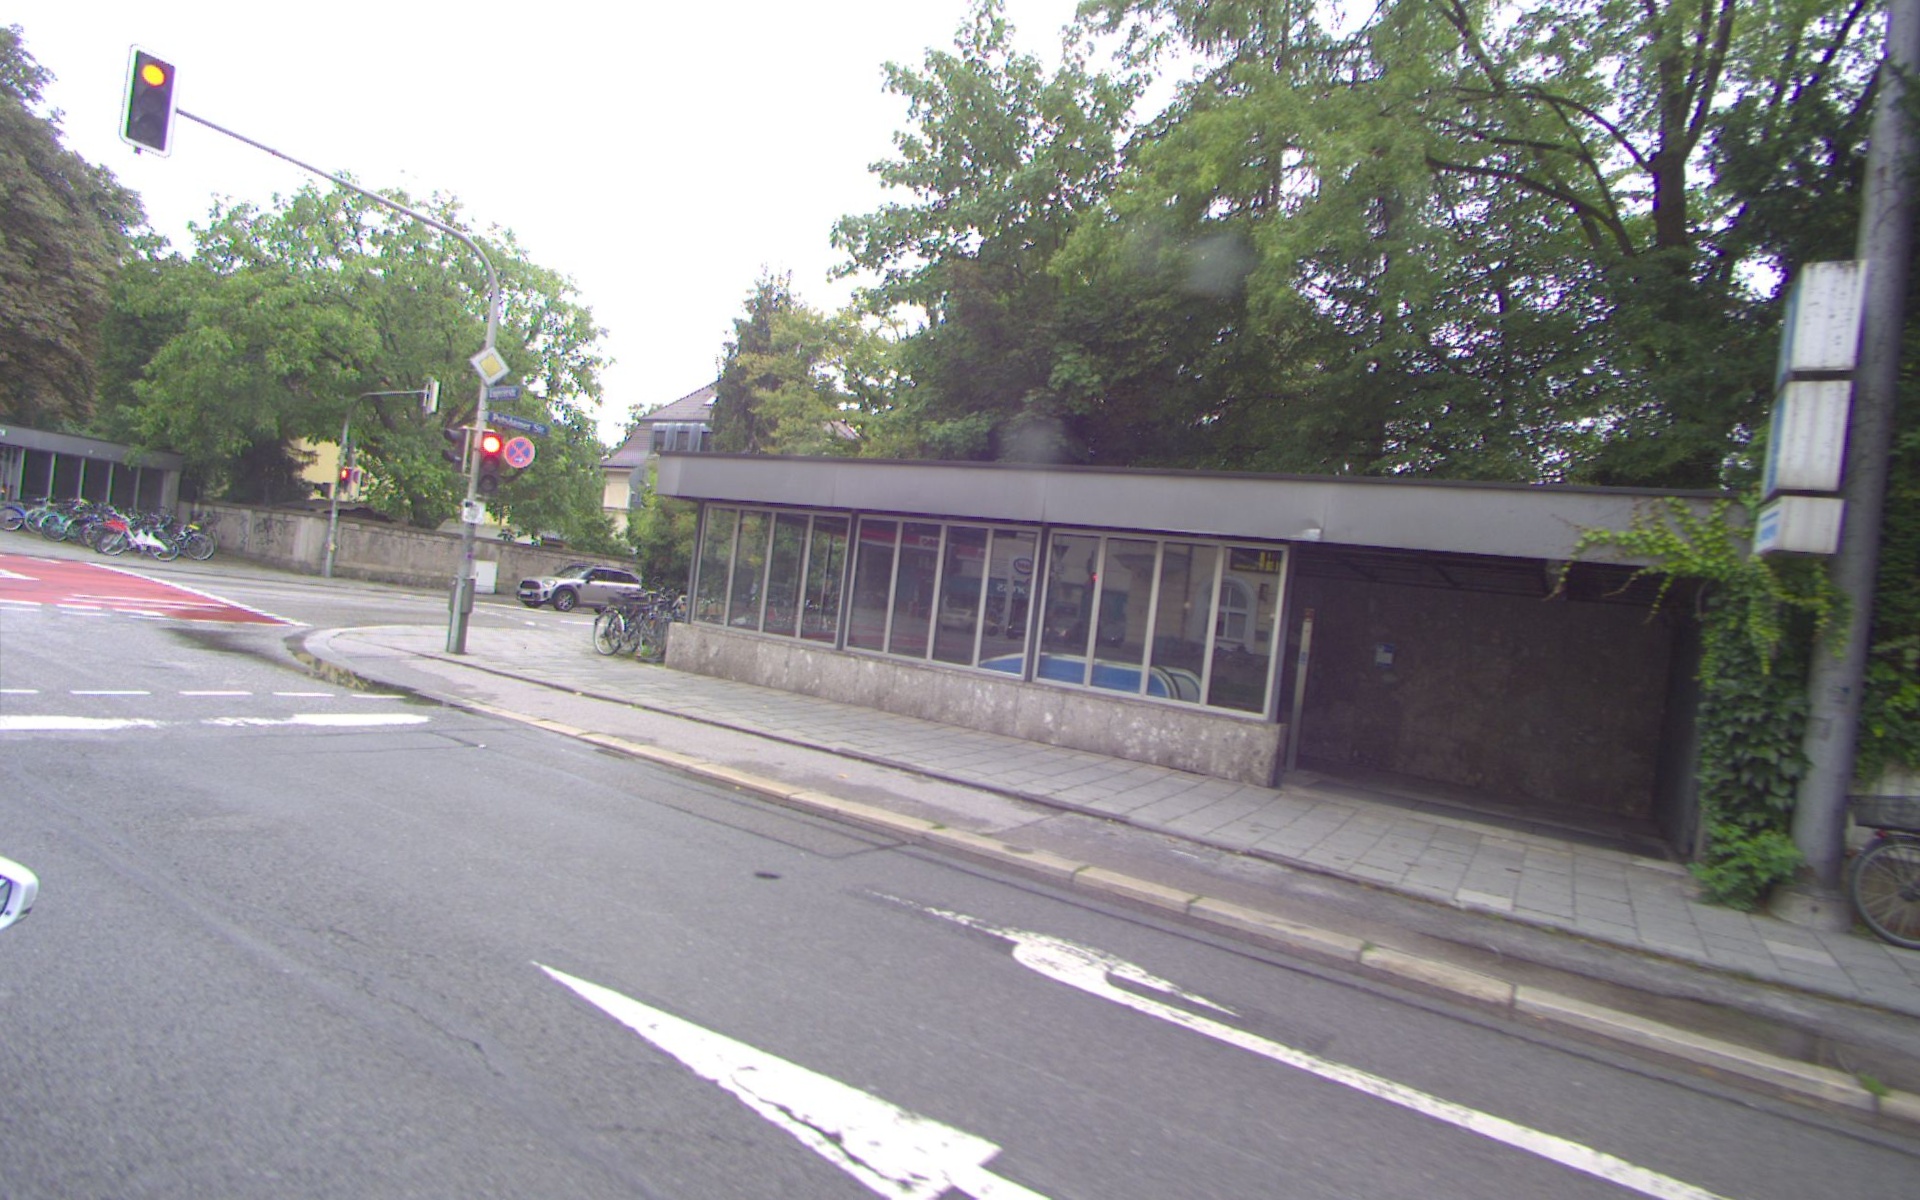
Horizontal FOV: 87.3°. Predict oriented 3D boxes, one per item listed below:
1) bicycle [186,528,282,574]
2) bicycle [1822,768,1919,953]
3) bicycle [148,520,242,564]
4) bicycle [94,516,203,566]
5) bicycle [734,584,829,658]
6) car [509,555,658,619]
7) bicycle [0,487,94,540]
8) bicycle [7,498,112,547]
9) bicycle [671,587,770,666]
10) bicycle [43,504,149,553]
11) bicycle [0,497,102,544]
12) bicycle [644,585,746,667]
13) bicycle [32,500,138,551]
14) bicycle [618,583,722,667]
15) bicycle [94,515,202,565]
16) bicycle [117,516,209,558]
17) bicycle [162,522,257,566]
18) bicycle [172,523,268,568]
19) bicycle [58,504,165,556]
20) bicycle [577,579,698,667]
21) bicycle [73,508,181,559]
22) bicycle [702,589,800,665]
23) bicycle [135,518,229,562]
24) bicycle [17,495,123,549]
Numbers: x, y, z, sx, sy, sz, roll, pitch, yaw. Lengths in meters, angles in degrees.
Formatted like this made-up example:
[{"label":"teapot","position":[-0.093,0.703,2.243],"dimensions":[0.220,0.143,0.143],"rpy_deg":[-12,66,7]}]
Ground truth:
[{"label":"bicycle","position":[-21.301,-1.419,29.553],"dimensions":[0.625,1.026,2.141],"rpy_deg":[8,0,40]},{"label":"bicycle","position":[6.987,1.842,6.482],"dimensions":[1.992,1.104,0.623],"rpy_deg":[7,0,32]},{"label":"bicycle","position":[-23.304,-1.760,30.682],"dimensions":[0.625,1.026,2.141],"rpy_deg":[8,0,40]},{"label":"bicycle","position":[-21.784,-1.575,27.034],"dimensions":[0.594,1.026,2.141],"rpy_deg":[8,0,40]},{"label":"bicycle","position":[-3.221,0.372,18.116],"dimensions":[1.707,1.135,0.469],"rpy_deg":[6,0,33]},{"label":"car","position":[-12.083,-0.390,32.543],"dimensions":[1.669,1.532,4.170],"rpy_deg":[7,-1,36]},{"label":"bicycle","position":[-27.410,-2.589,30.088],"dimensions":[0.594,1.233,2.141],"rpy_deg":[8,0,40]},{"label":"bicycle","position":[-26.128,-2.242,29.225],"dimensions":[0.594,1.075,2.141],"rpy_deg":[8,0,40]},{"label":"bicycle","position":[-4.069,0.443,17.033],"dimensions":[1.707,1.135,0.469],"rpy_deg":[6,0,33]},{"label":"bicycle","position":[-24.233,-1.995,28.257],"dimensions":[0.594,1.026,2.141],"rpy_deg":[8,0,40]},{"label":"bicycle","position":[-26.838,-2.342,29.712],"dimensions":[0.594,1.026,2.141],"rpy_deg":[8,0,40]},{"label":"bicycle","position":[-4.326,0.407,16.387],"dimensions":[1.707,1.135,0.469],"rpy_deg":[6,0,33]},{"label":"bicycle","position":[-24.853,-2.096,28.606],"dimensions":[0.594,1.099,2.141],"rpy_deg":[8,0,40]},{"label":"bicycle","position":[-4.609,0.388,15.925],"dimensions":[1.707,1.135,0.469],"rpy_deg":[6,0,33]},{"label":"bicycle","position":[-22.194,-1.633,27.532],"dimensions":[0.625,1.026,2.141],"rpy_deg":[8,0,40]},{"label":"bicycle","position":[-25.256,-1.985,31.928],"dimensions":[0.625,1.026,2.141],"rpy_deg":[8,0,40]},{"label":"bicycle","position":[-22.605,-1.673,30.335],"dimensions":[0.625,1.026,2.141],"rpy_deg":[8,0,40]},{"label":"bicycle","position":[-21.974,-1.602,29.927],"dimensions":[0.625,1.026,2.141],"rpy_deg":[8,0,40]},{"label":"bicycle","position":[-23.572,-1.931,27.992],"dimensions":[0.594,1.114,2.141],"rpy_deg":[8,0,40]},{"label":"bicycle","position":[-4.938,0.339,15.359],"dimensions":[1.859,1.135,0.600],"rpy_deg":[6,0,33]},{"label":"bicycle","position":[-22.964,-1.817,27.765],"dimensions":[0.594,1.084,2.141],"rpy_deg":[8,0,40]},{"label":"bicycle","position":[-3.645,0.460,17.475],"dimensions":[1.707,1.135,0.469],"rpy_deg":[6,0,33]},{"label":"bicycle","position":[-23.980,-1.843,31.049],"dimensions":[0.625,1.026,2.141],"rpy_deg":[8,0,40]},{"label":"bicycle","position":[-25.525,-2.230,28.881],"dimensions":[0.594,1.192,2.141],"rpy_deg":[8,0,40]}]
